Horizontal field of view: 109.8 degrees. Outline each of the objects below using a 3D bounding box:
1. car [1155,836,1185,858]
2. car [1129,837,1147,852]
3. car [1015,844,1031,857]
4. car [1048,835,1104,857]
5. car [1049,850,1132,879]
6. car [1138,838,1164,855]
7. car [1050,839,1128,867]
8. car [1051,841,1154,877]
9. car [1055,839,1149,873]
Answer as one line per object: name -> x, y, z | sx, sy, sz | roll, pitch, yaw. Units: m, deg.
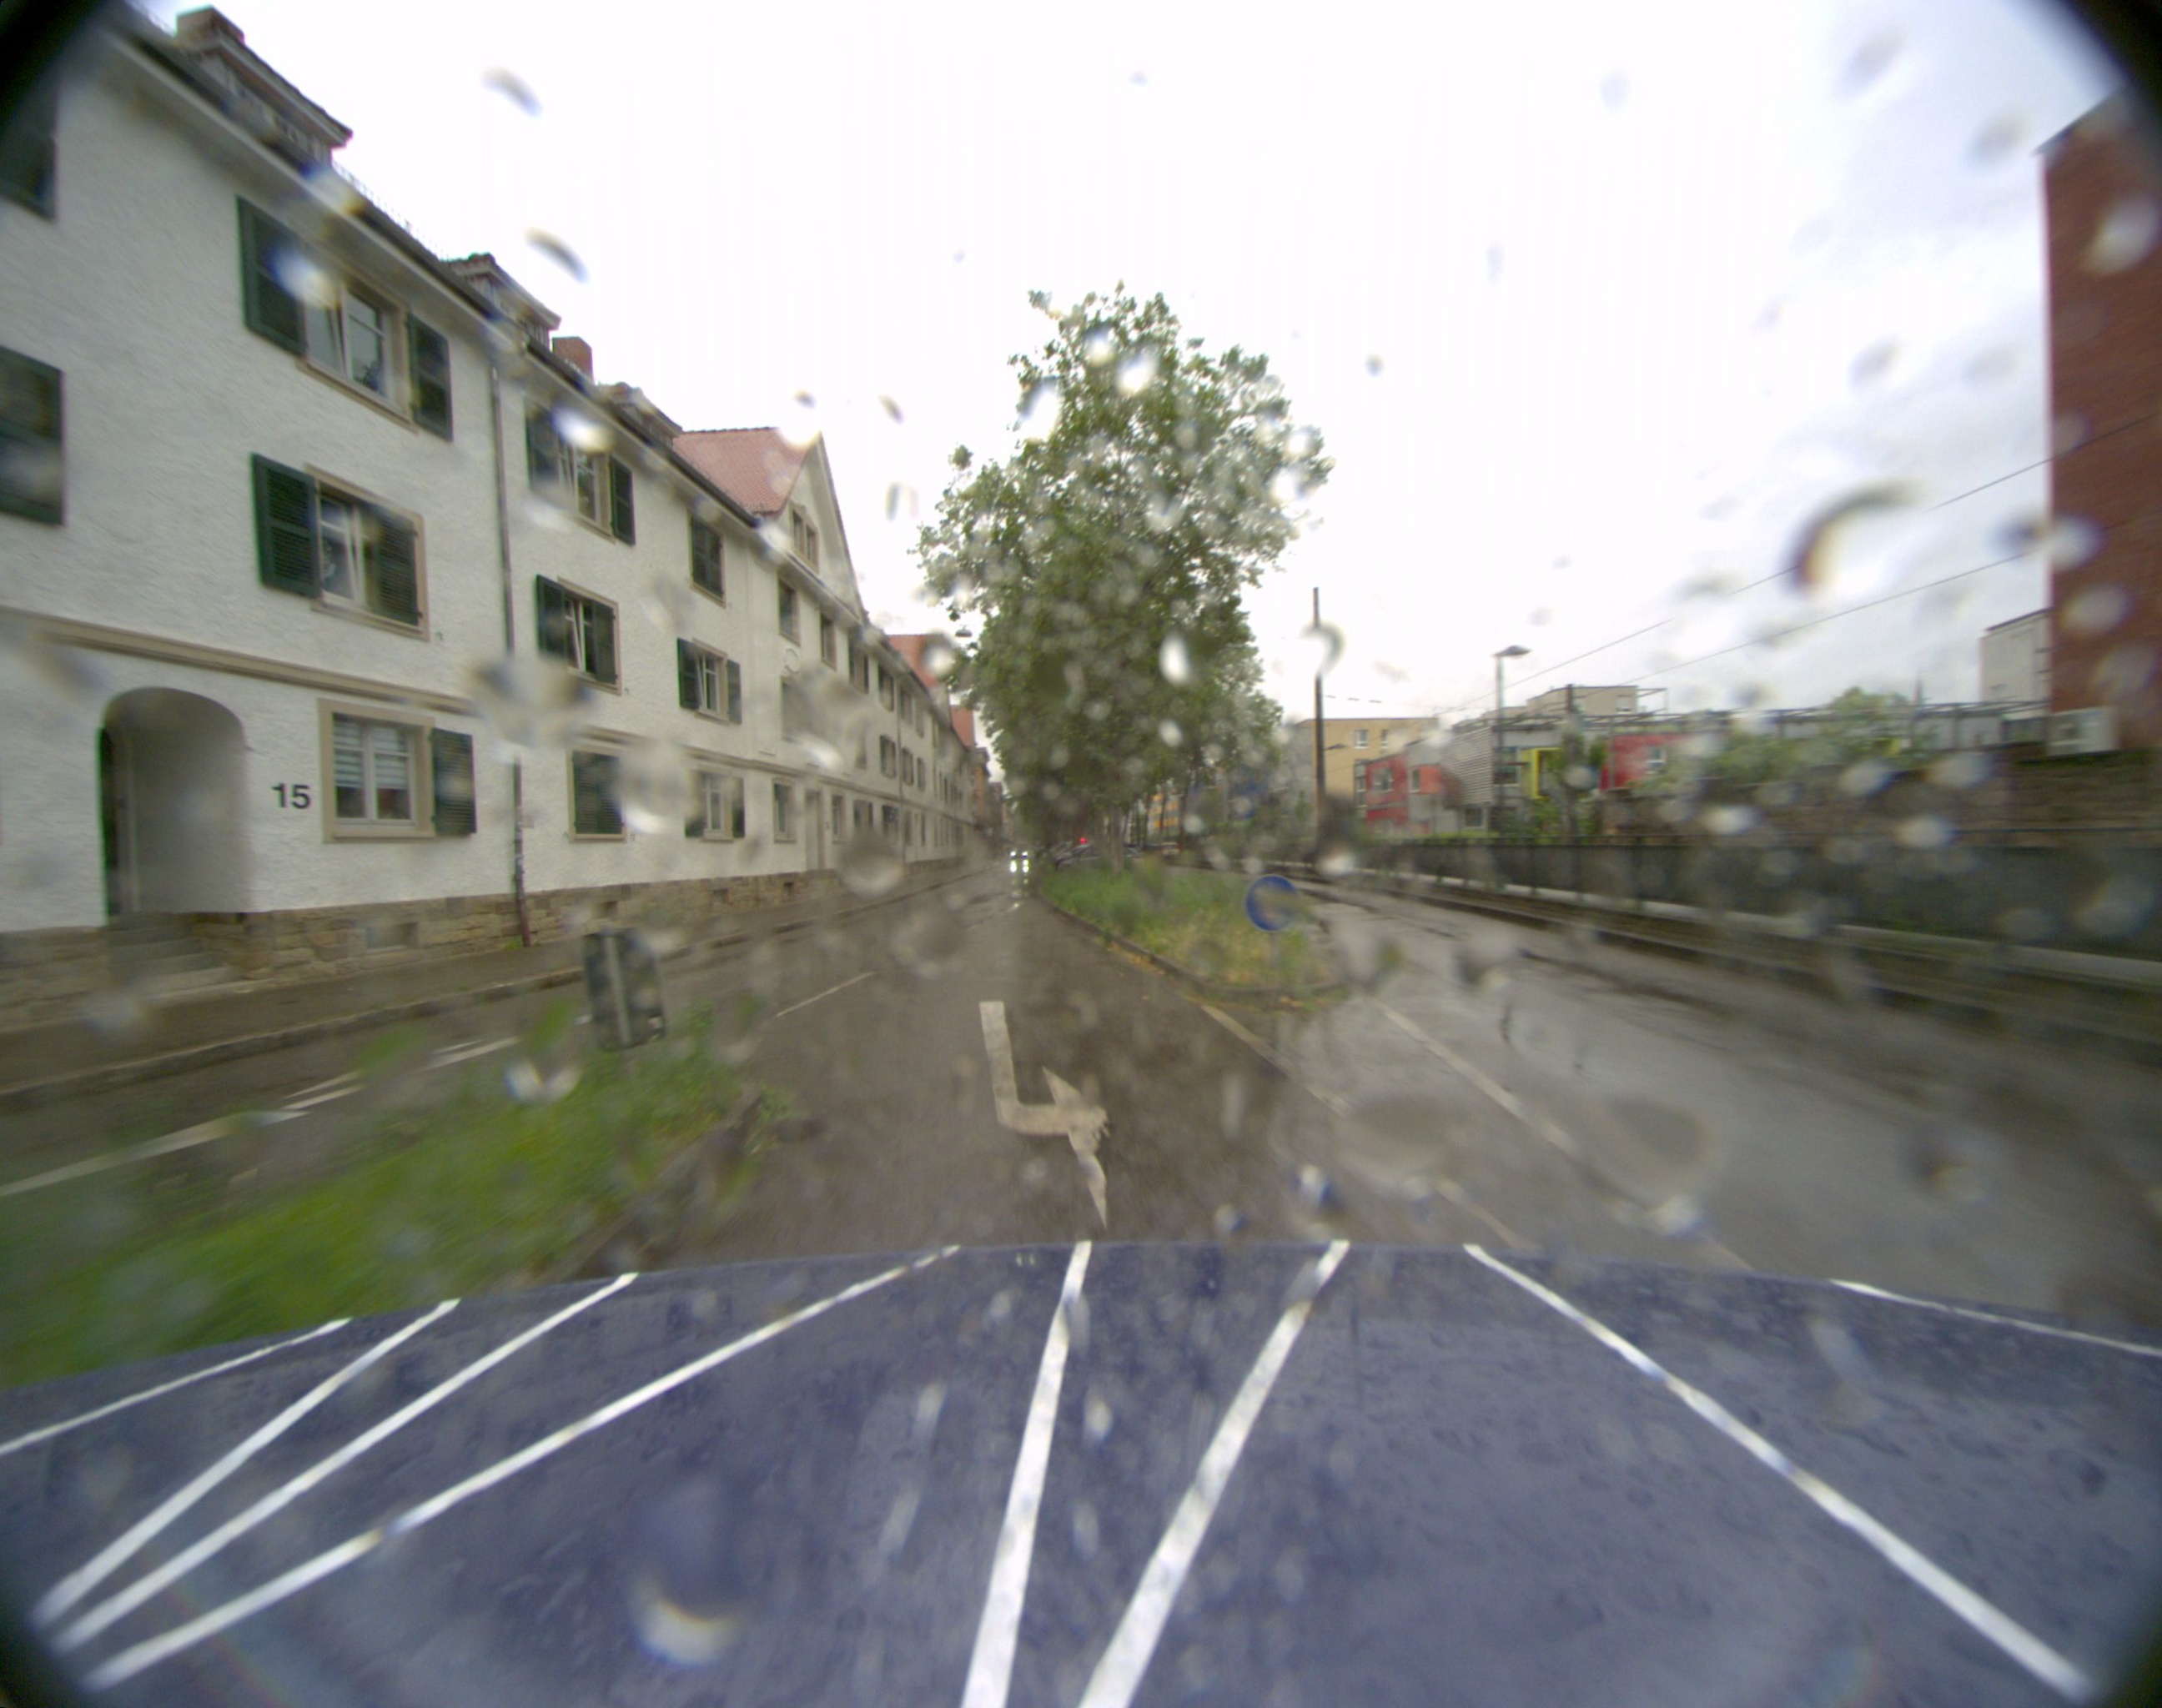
car -> 7.059, -0.560, 60.509 | 1.692, 1.714, 3.689 | 0, 1, -4
car -> 5.879, -0.989, 78.488 | 1.691, 1.439, 4.000 | 0, 1, 2
car -> -7.527, -0.472, 98.480 | 1.851, 1.587, 4.215 | -1, 1, -1
car -> -0.499, -0.775, 71.133 | 4.879, 2.002, 2.003 | 1, 2, 27
car -> 0.504, 0.546, 42.648 | 4.321, 1.499, 1.751 | 1, 2, 29
car -> 6.314, -0.684, 68.485 | 1.692, 1.439, 3.997 | 0, 1, -4
car -> 0.476, -0.066, 45.455 | 4.323, 1.603, 1.751 | 1, 2, 22
car -> 0.975, 0.197, 34.428 | 4.220, 1.532, 1.934 | 1, 2, 27
car -> 0.994, 0.055, 36.698 | 4.220, 1.601, 1.751 | 1, 2, 27
